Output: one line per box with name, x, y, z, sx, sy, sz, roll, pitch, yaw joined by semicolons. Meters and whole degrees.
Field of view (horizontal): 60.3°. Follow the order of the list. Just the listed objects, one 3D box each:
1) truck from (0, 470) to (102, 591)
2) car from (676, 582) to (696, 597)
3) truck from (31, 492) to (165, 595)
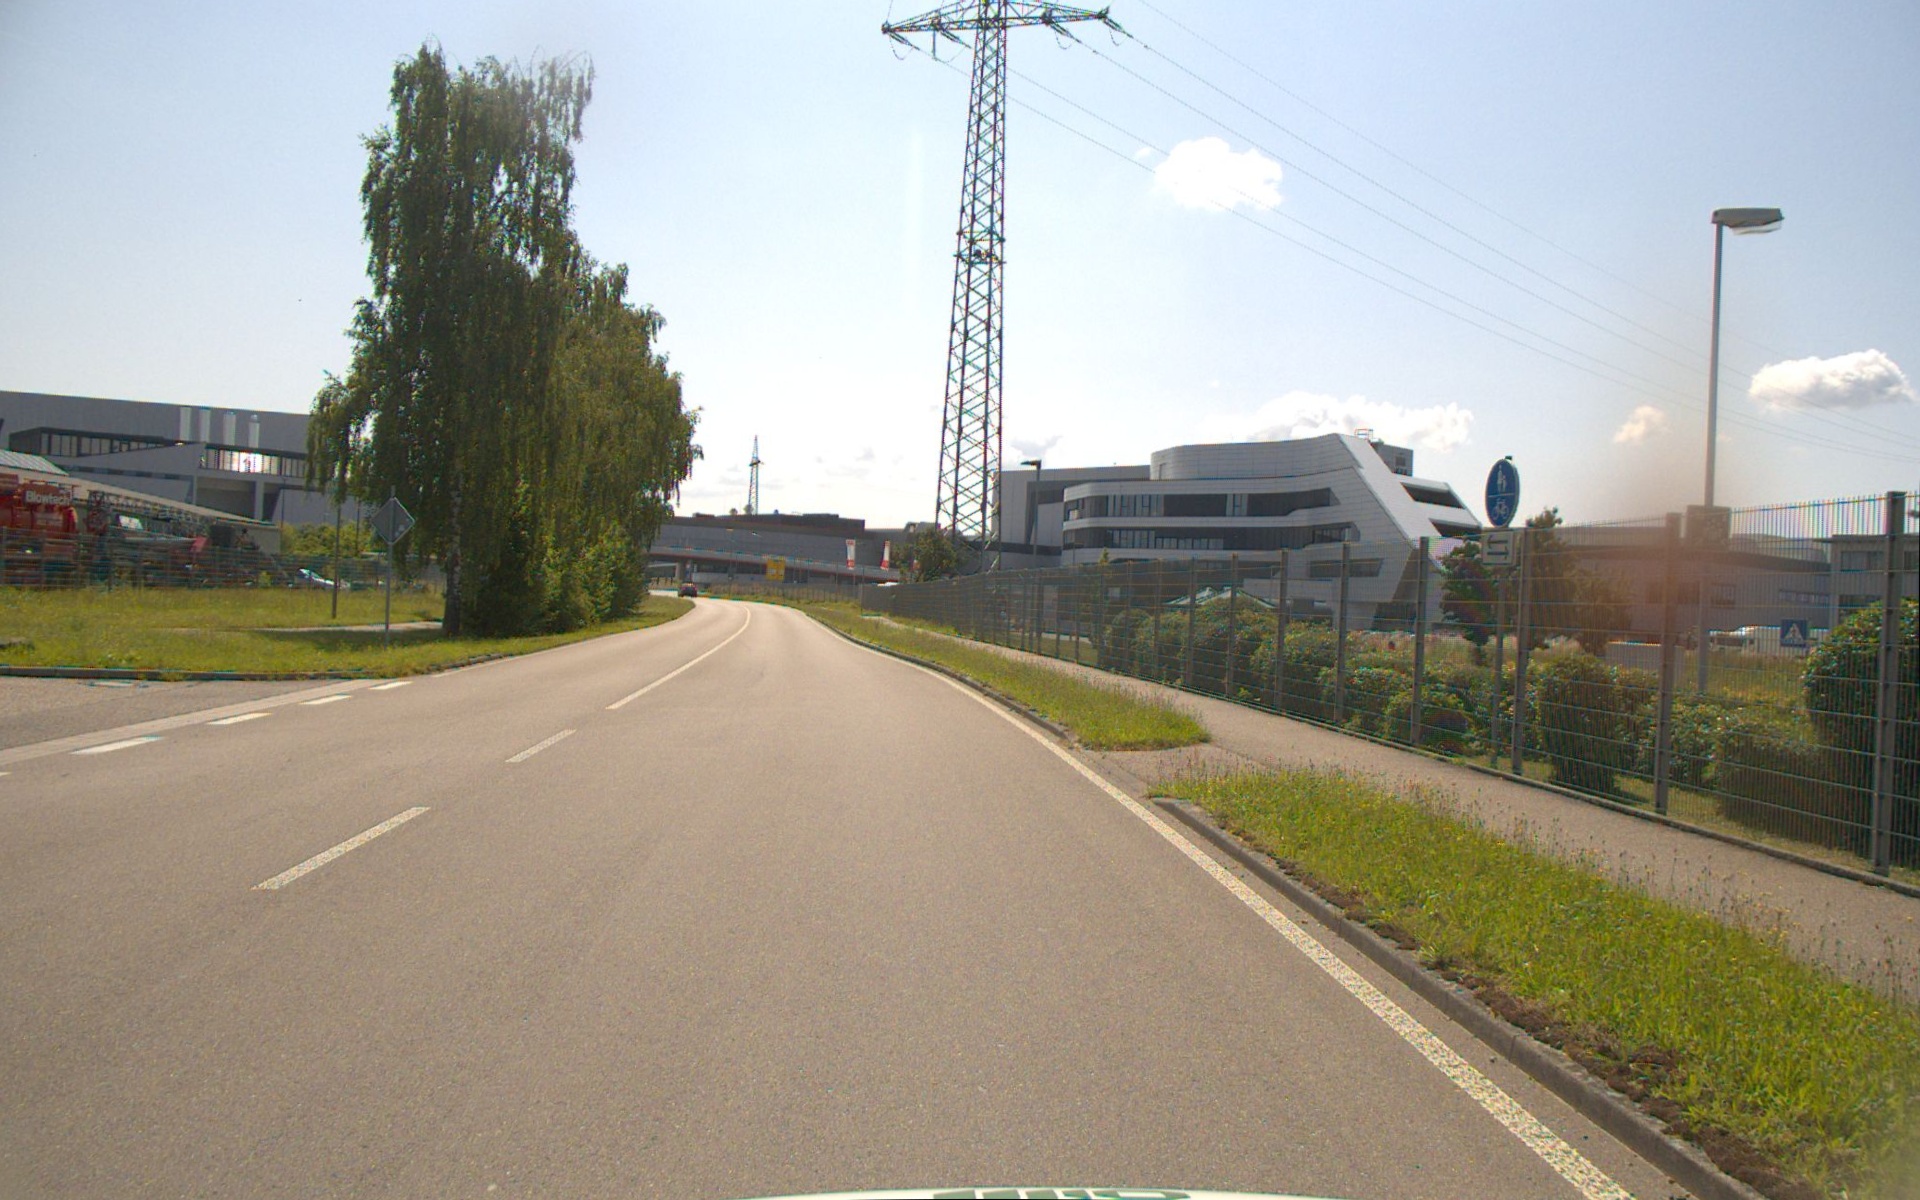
truck;-30.304;-2.160;51.343;2.700;3.620;10.255;3;0;-6
car;-31.115;-1.216;187.492;1.977;1.534;3.987;3;0;-13
truck;-31.928;-2.013;61.473;2.388;3.512;5.436;3;0;-6
